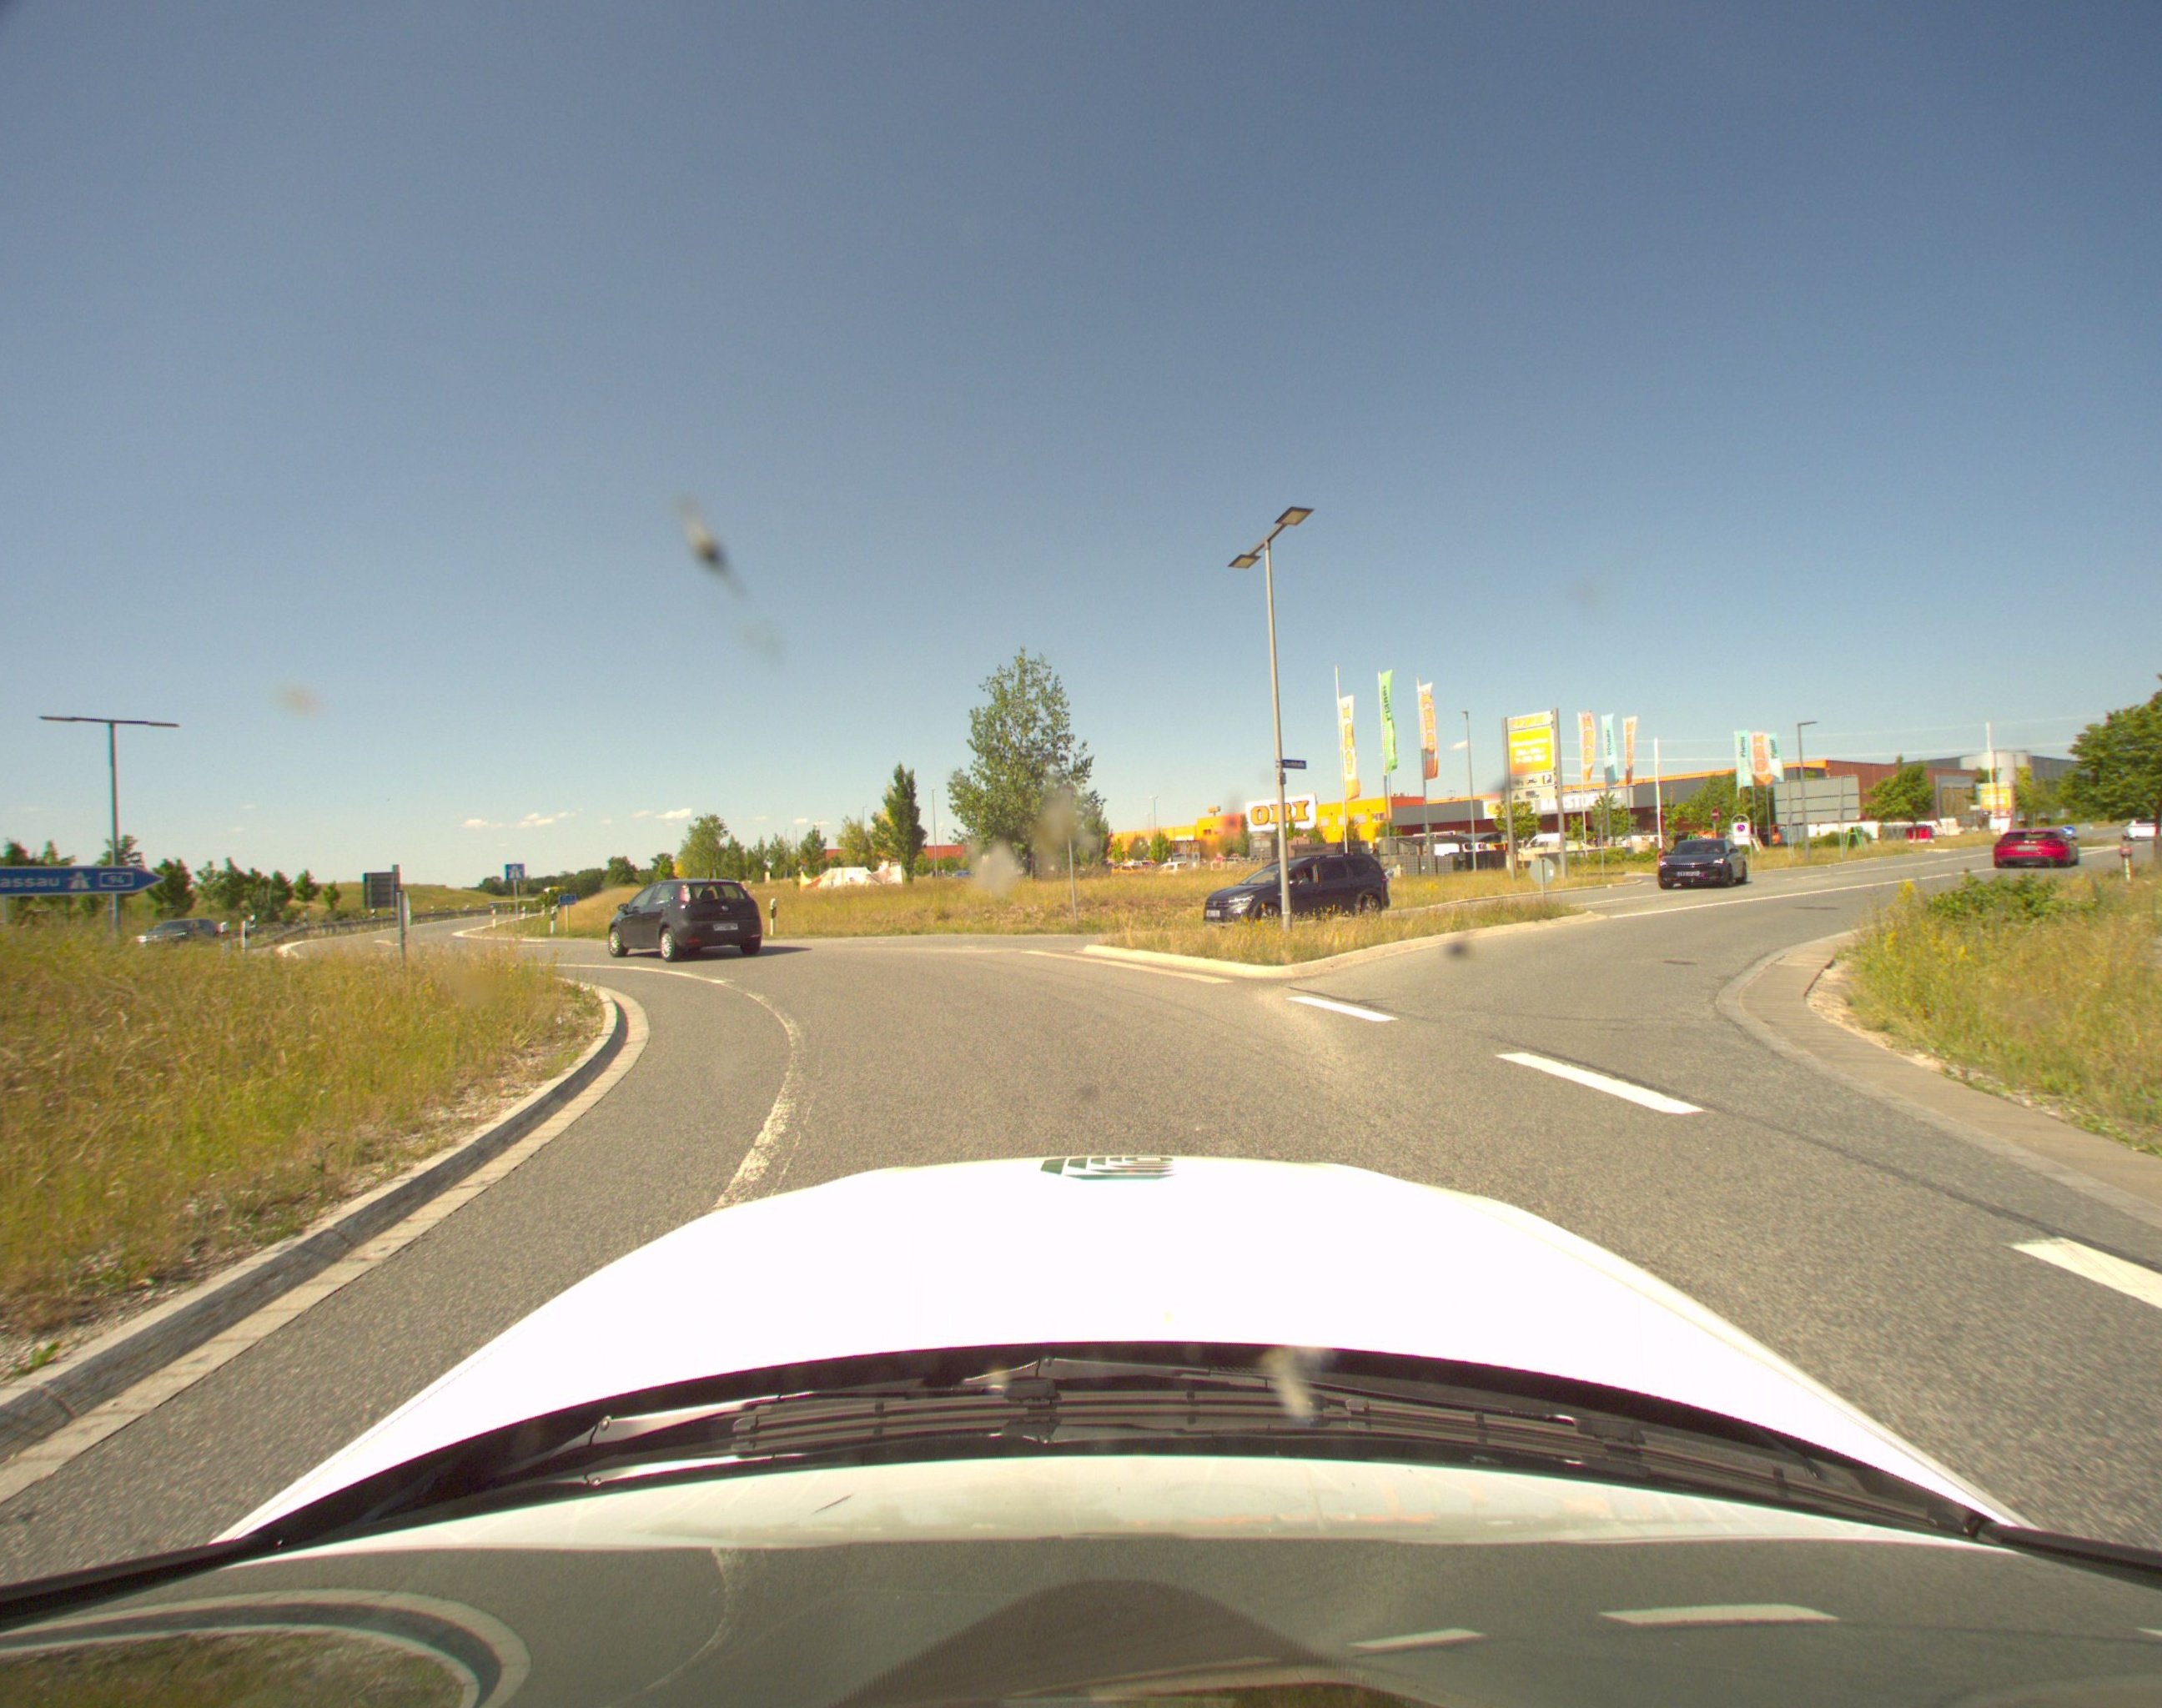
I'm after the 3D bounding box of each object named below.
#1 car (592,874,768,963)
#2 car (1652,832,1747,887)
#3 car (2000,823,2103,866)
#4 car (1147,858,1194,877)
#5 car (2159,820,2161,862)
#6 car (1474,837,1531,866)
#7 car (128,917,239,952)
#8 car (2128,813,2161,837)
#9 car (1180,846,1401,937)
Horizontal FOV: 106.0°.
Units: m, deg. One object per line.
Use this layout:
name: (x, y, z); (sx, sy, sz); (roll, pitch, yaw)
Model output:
car: (-7.888, 1.184, 15.864); (3.854, 1.488, 1.655); (-2, -1, 40)
car: (20.818, 0.157, 27.339); (2.052, 1.627, 4.726); (-5, -2, 42)
car: (35.958, -0.363, 30.163); (4.131, 1.416, 1.791); (-2, 0, -31)
car: (8.417, 1.291, 77.053); (2.012, 1.618, 3.950); (-2, -1, -44)
car: (44.169, -0.563, 30.738); (4.042, 1.635, 1.862); (-2, 0, 9)
car: (27.991, -0.164, 54.039); (3.789, 1.841, 1.682); (0, -2, -34)
car: (-47.427, 4.202, 43.189); (1.690, 1.413, 4.347); (-3, -1, -13)
car: (69.482, -1.915, 52.925); (3.364, 1.440, 1.498); (-3, -1, -34)
car: (4.802, 0.811, 18.638); (4.635, 1.706, 1.941); (-3, -2, -25)
